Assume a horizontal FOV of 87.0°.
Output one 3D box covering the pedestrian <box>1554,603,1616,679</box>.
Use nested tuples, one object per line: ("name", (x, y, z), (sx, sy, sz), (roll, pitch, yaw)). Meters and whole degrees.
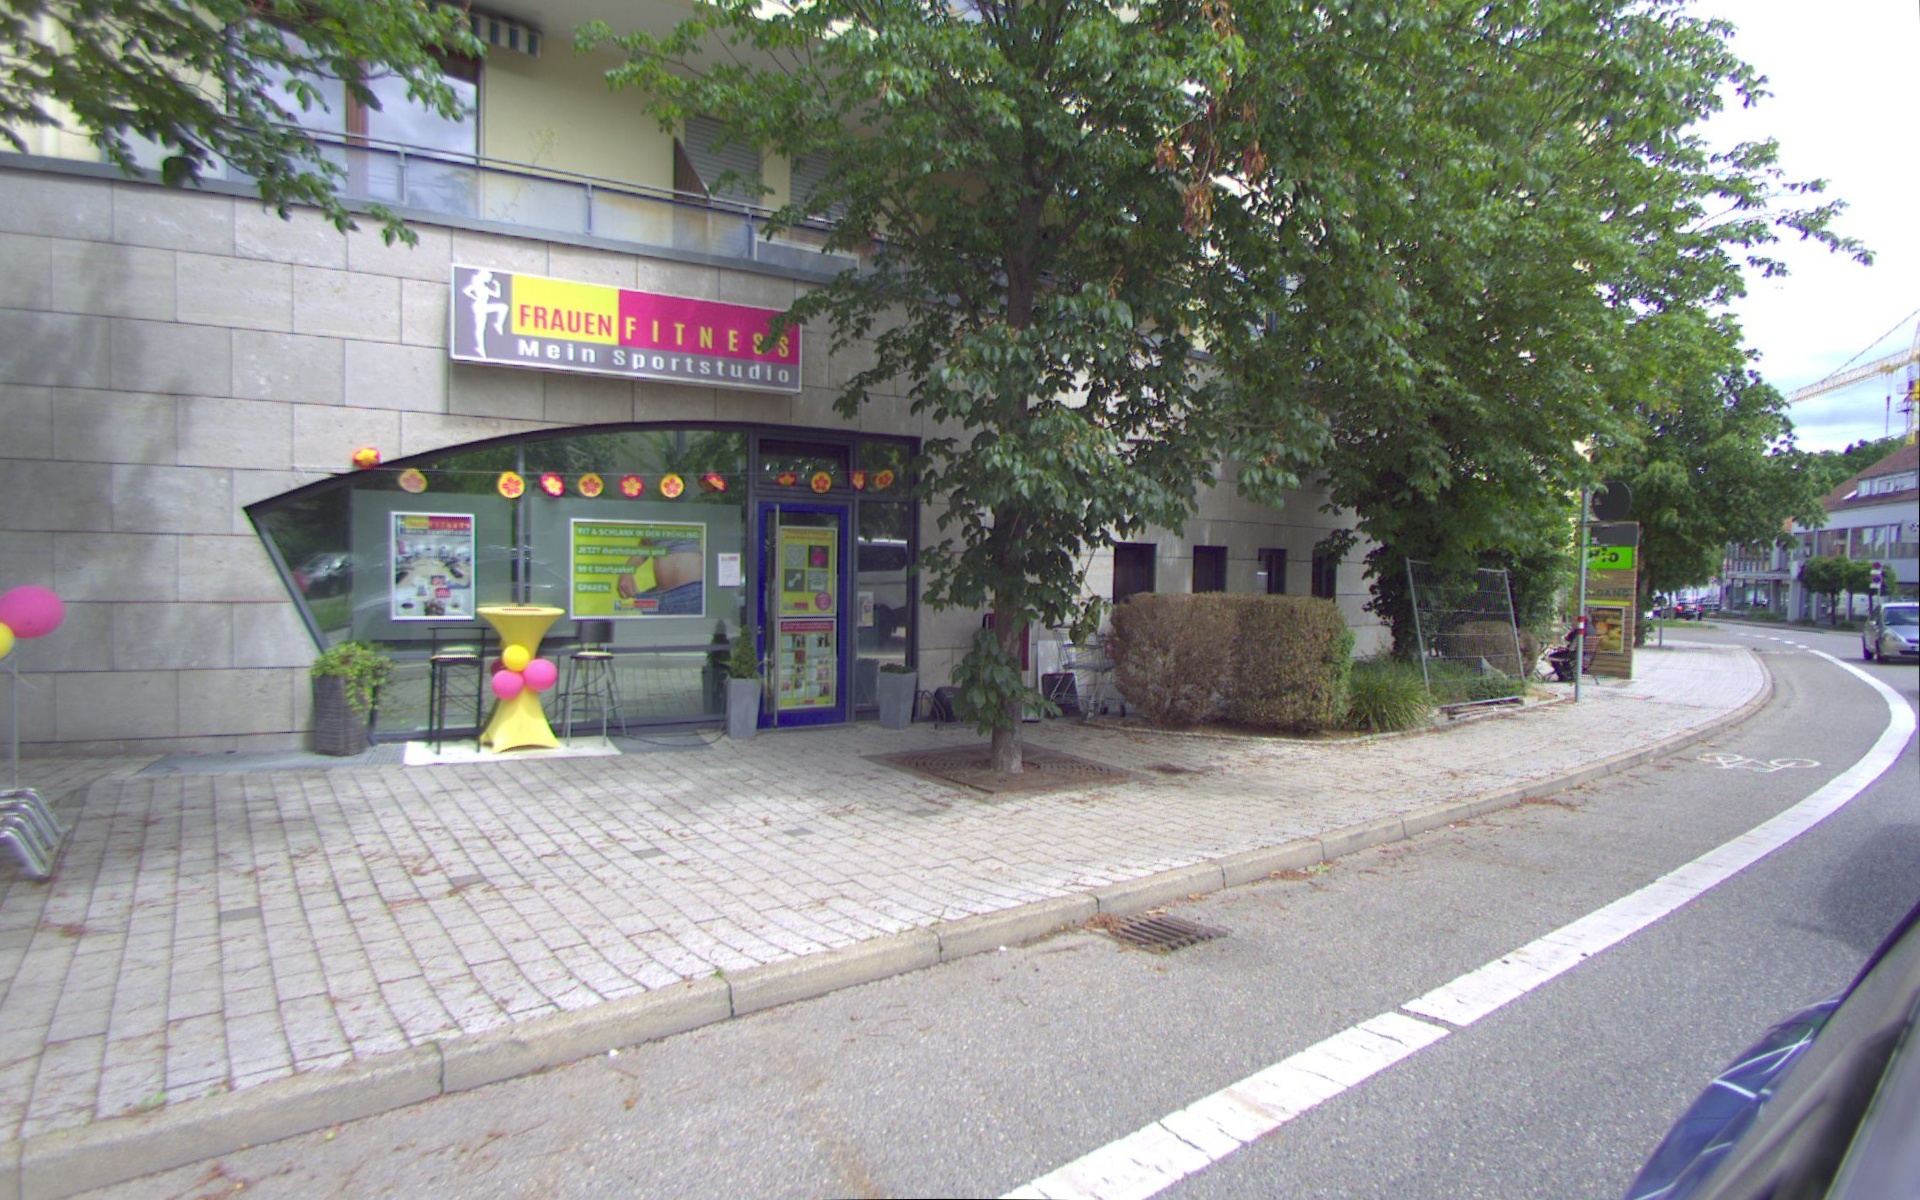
("pedestrian", (11.387, 0.732, 18.446), (0.741, 1.317, 0.730), (0, 2, -41))

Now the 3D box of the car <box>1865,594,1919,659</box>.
("car", (24.298, 0.617, 25.430), (3.928, 1.505, 1.693), (-1, 0, -39))

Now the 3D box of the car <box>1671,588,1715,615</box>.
("car", (54.039, 0.057, 74.676), (1.722, 1.874, 3.970), (2, 2, 23))
